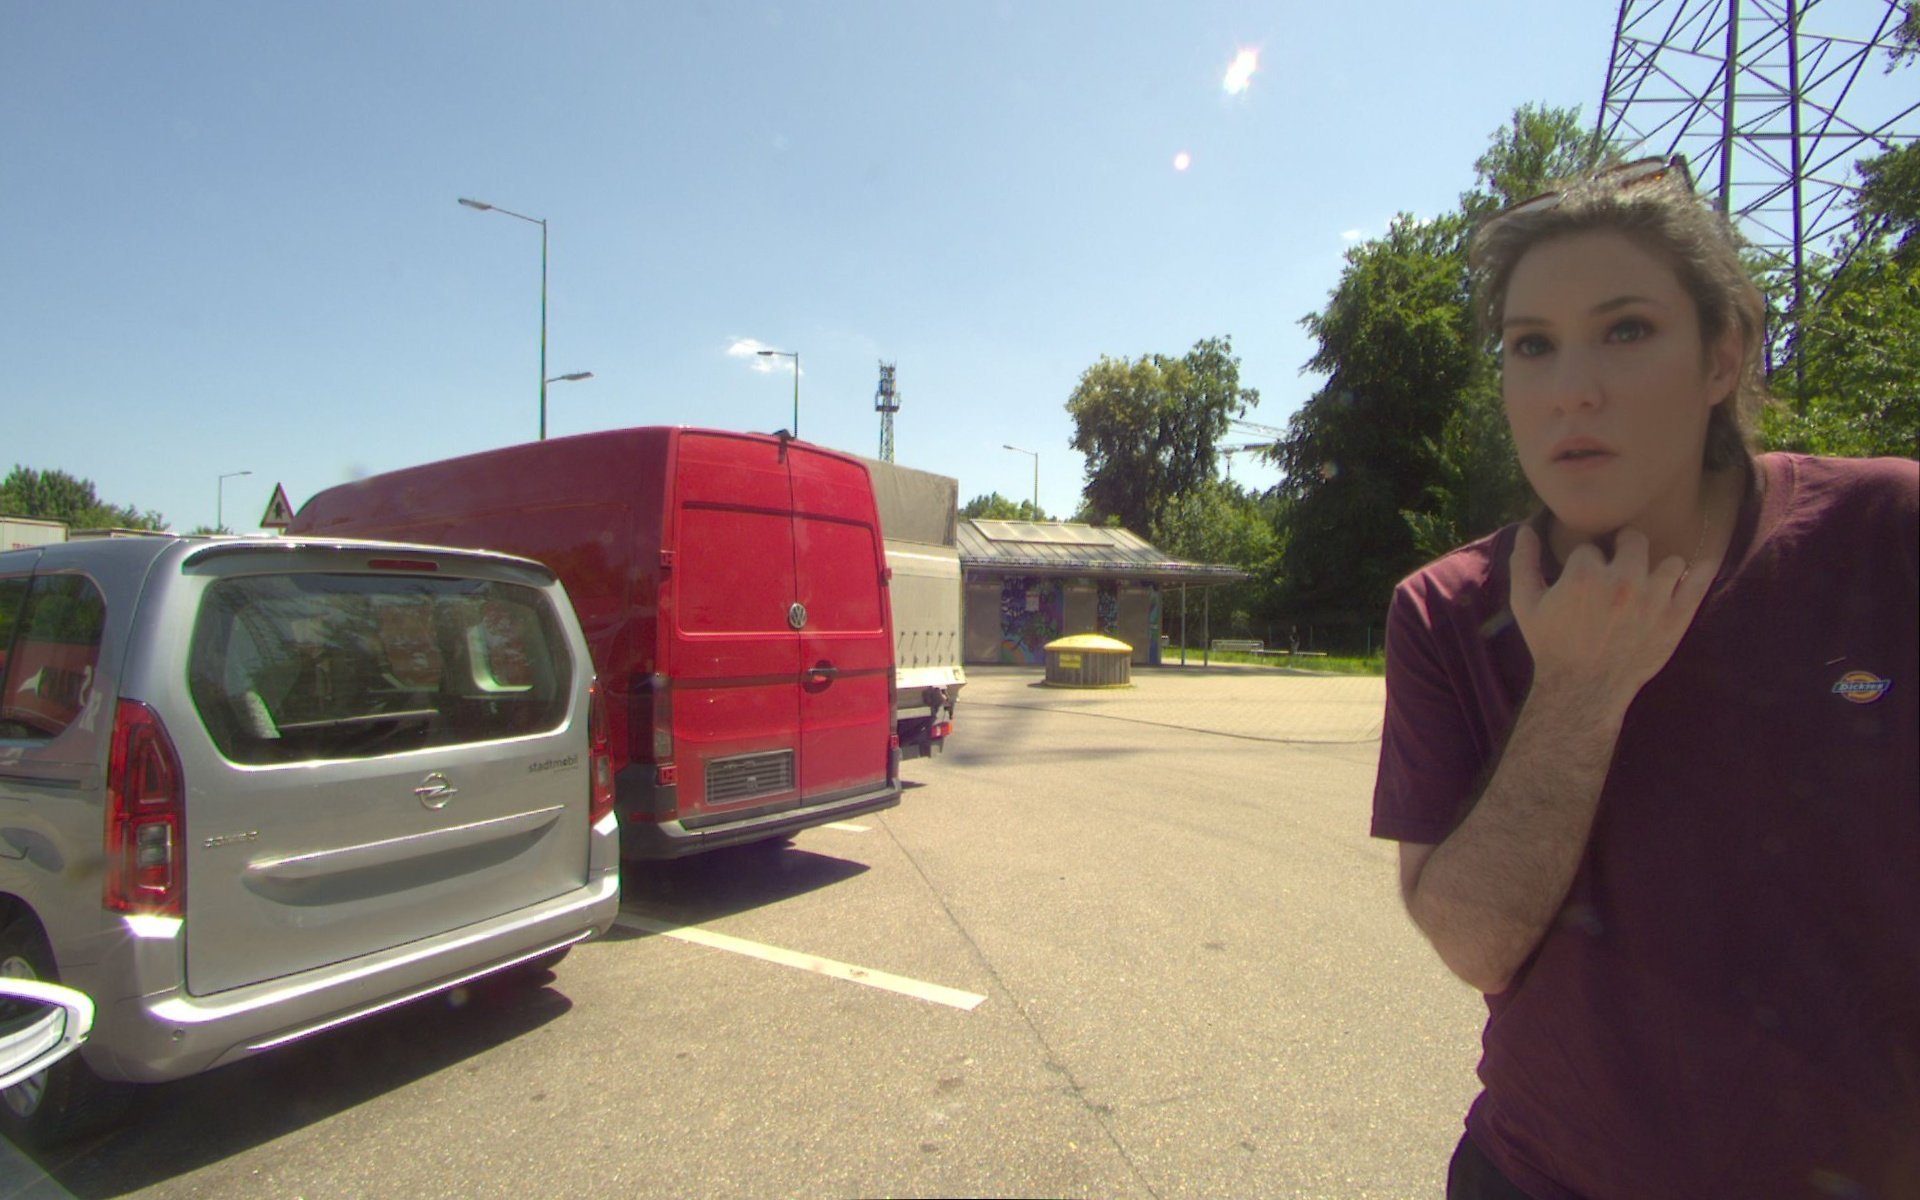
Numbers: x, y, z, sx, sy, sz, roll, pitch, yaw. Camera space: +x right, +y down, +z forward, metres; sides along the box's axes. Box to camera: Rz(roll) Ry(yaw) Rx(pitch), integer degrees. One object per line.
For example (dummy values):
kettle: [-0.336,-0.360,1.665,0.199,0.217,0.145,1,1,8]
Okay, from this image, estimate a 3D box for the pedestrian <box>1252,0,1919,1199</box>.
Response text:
pedestrian: [0.708,0.580,0.872,0.849,1.857,0.860,-1,-1,17]

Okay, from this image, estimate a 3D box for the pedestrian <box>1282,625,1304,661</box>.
pedestrian: [15.621,2.008,46.977,0.722,1.658,0.793,0,-1,0]

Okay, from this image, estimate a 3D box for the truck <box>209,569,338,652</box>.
truck: [-32.075,0.461,46.749,5.813,3.566,2.799,2,-2,33]

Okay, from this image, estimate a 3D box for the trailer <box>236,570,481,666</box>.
trailer: [-26.081,0.640,42.891,14.184,3.552,2.808,2,-2,33]

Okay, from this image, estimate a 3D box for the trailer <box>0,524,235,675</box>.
trailer: [-27.935,-0.106,31.776,14.184,4.040,2.808,2,-2,33]

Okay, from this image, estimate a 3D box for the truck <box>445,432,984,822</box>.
truck: [-2.721,0.302,10.275,5.582,2.949,2.449,-2,-2,37]

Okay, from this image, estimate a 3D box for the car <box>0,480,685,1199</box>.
car: [-3.365,0.685,4.236,4.113,1.887,1.868,1,-2,31]

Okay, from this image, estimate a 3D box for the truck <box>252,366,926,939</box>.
truck: [-2.872,0.335,7.036,5.238,2.655,1.972,-2,-2,38]

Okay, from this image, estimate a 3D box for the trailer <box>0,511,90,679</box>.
trailer: [-28.999,-0.263,28.130,14.184,4.040,2.808,2,-2,33]
